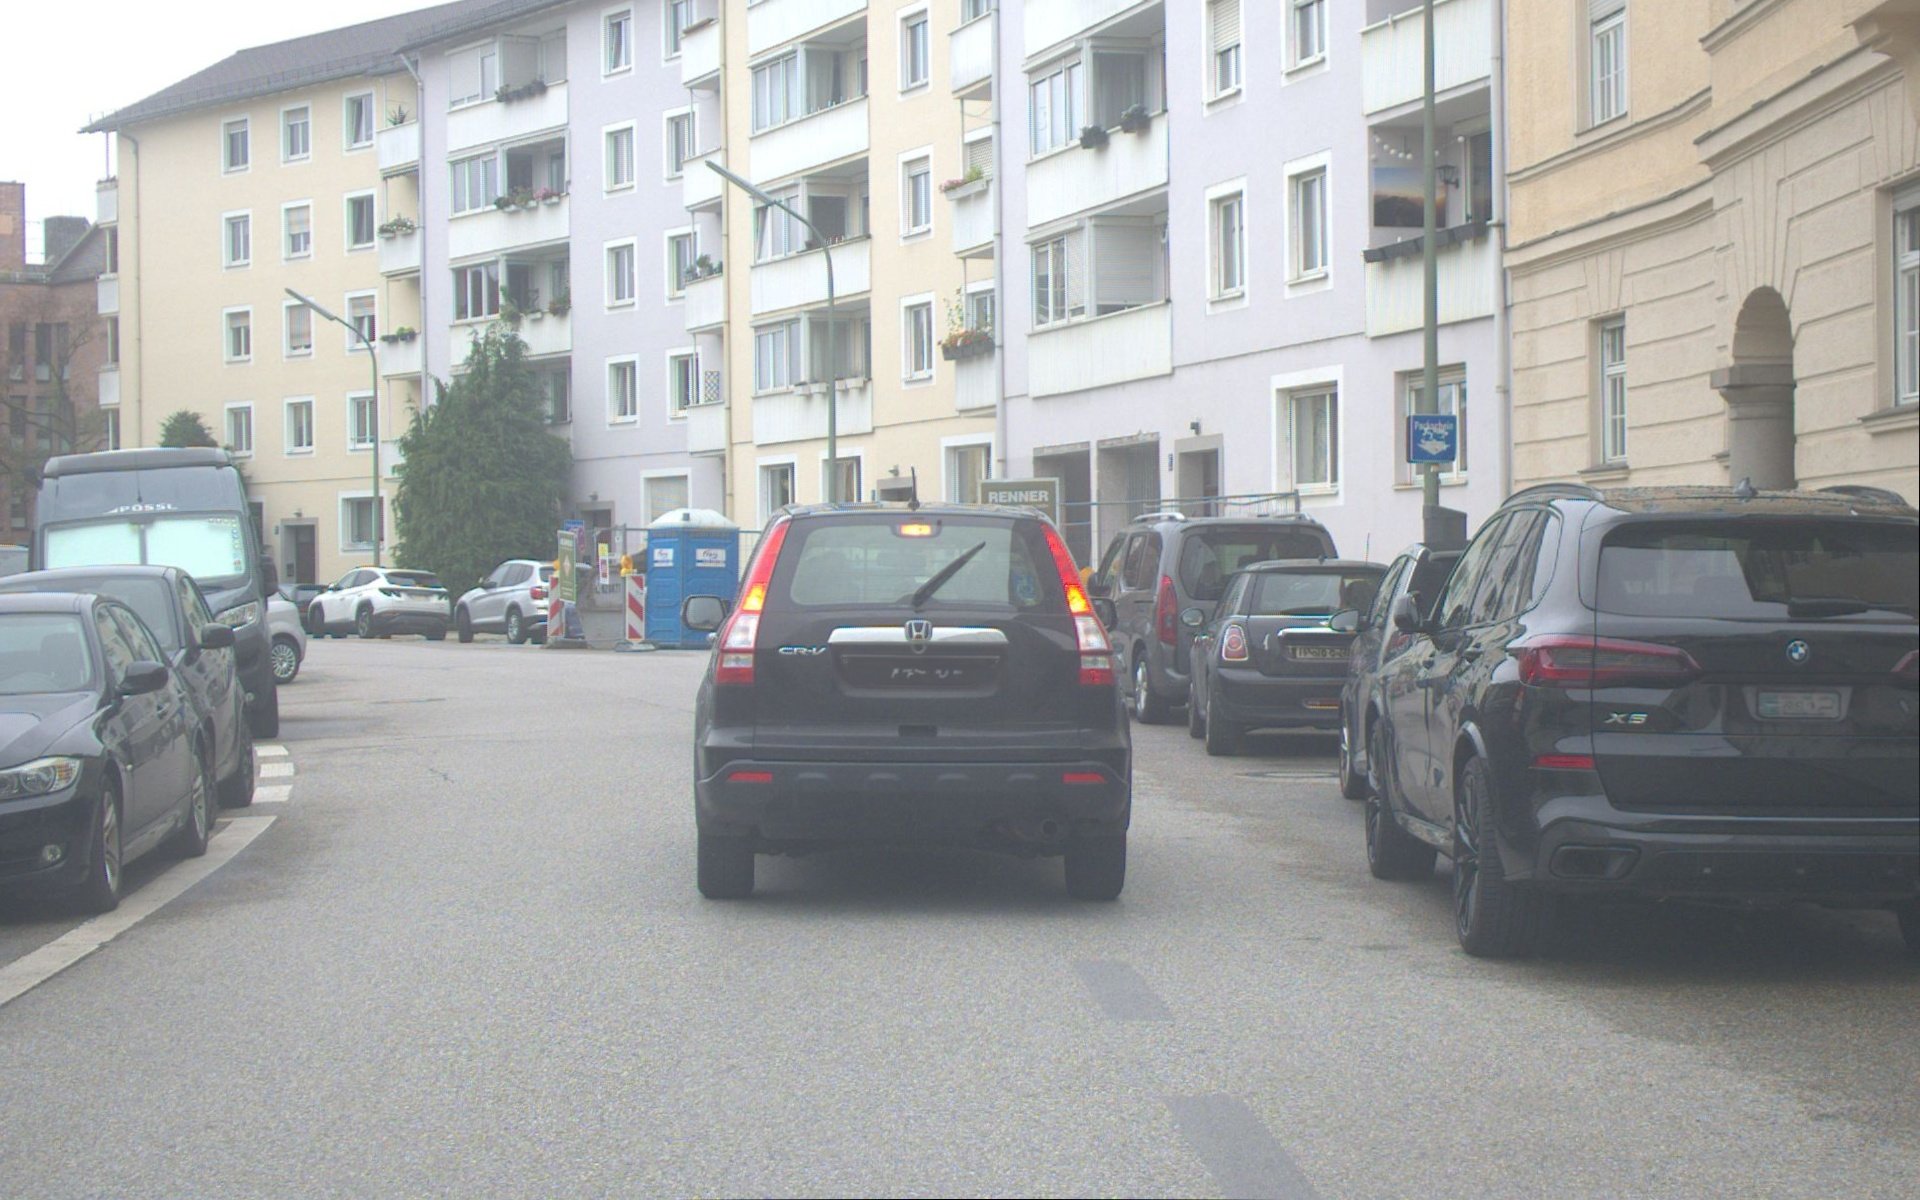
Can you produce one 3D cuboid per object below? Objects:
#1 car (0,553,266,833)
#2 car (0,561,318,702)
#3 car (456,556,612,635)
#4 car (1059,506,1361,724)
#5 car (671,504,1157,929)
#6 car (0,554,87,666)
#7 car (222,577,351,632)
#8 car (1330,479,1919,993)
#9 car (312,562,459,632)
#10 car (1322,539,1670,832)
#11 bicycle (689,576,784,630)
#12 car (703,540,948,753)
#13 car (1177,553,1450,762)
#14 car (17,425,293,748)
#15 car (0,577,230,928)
[{"bbox_3d":[-5.147,0.505,20.445,1.670,1.497,2.978,-2,1,-6],"label":"car"},{"bbox_3d":[-10.332,0.386,43.634,1.683,1.476,4.078,-4,0,39],"label":"car"},{"bbox_3d":[-8.412,-0.105,67.657,1.724,1.478,4.001,0,1,-28],"label":"car"},{"bbox_3d":[2.165,0.105,30.971,1.777,1.800,4.277,1,1,-9],"label":"car"},{"bbox_3d":[-0.300,0.432,15.401,1.890,1.642,3.992,0,1,-4],"label":"car"},{"bbox_3d":[-15.228,0.134,54.582,1.679,1.701,4.514,-1,1,-27],"label":"car"},{"bbox_3d":[-15.803,0.083,80.618,1.697,1.232,3.602,0,1,-34],"label":"car"},{"bbox_3d":[2.724,0.438,14.029,1.869,1.711,4.865,1,1,0],"label":"car"},{"bbox_3d":[-12.787,-0.089,76.399,1.724,1.478,4.000,0,1,-34],"label":"car"},{"bbox_3d":[2.991,0.438,19.696,1.535,1.518,3.110,1,1,1],"label":"car"},{"bbox_3d":[-4.582,0.061,70.560,1.865,1.087,0.566,0,0,-22],"label":"bicycle"},{"bbox_3d":[-1.093,0.303,26.077,1.679,1.476,4.087,0,1,-5],"label":"car"},{"bbox_3d":[2.612,0.385,26.133,1.708,1.442,3.830,1,1,1],"label":"car"},{"bbox_3d":[-7.466,-0.168,31.691,2.163,2.632,6.019,-2,1,-14],"label":"car"},{"bbox_3d":[-4.665,0.638,16.239,1.799,1.401,4.456,-2,1,-5],"label":"car"}]
